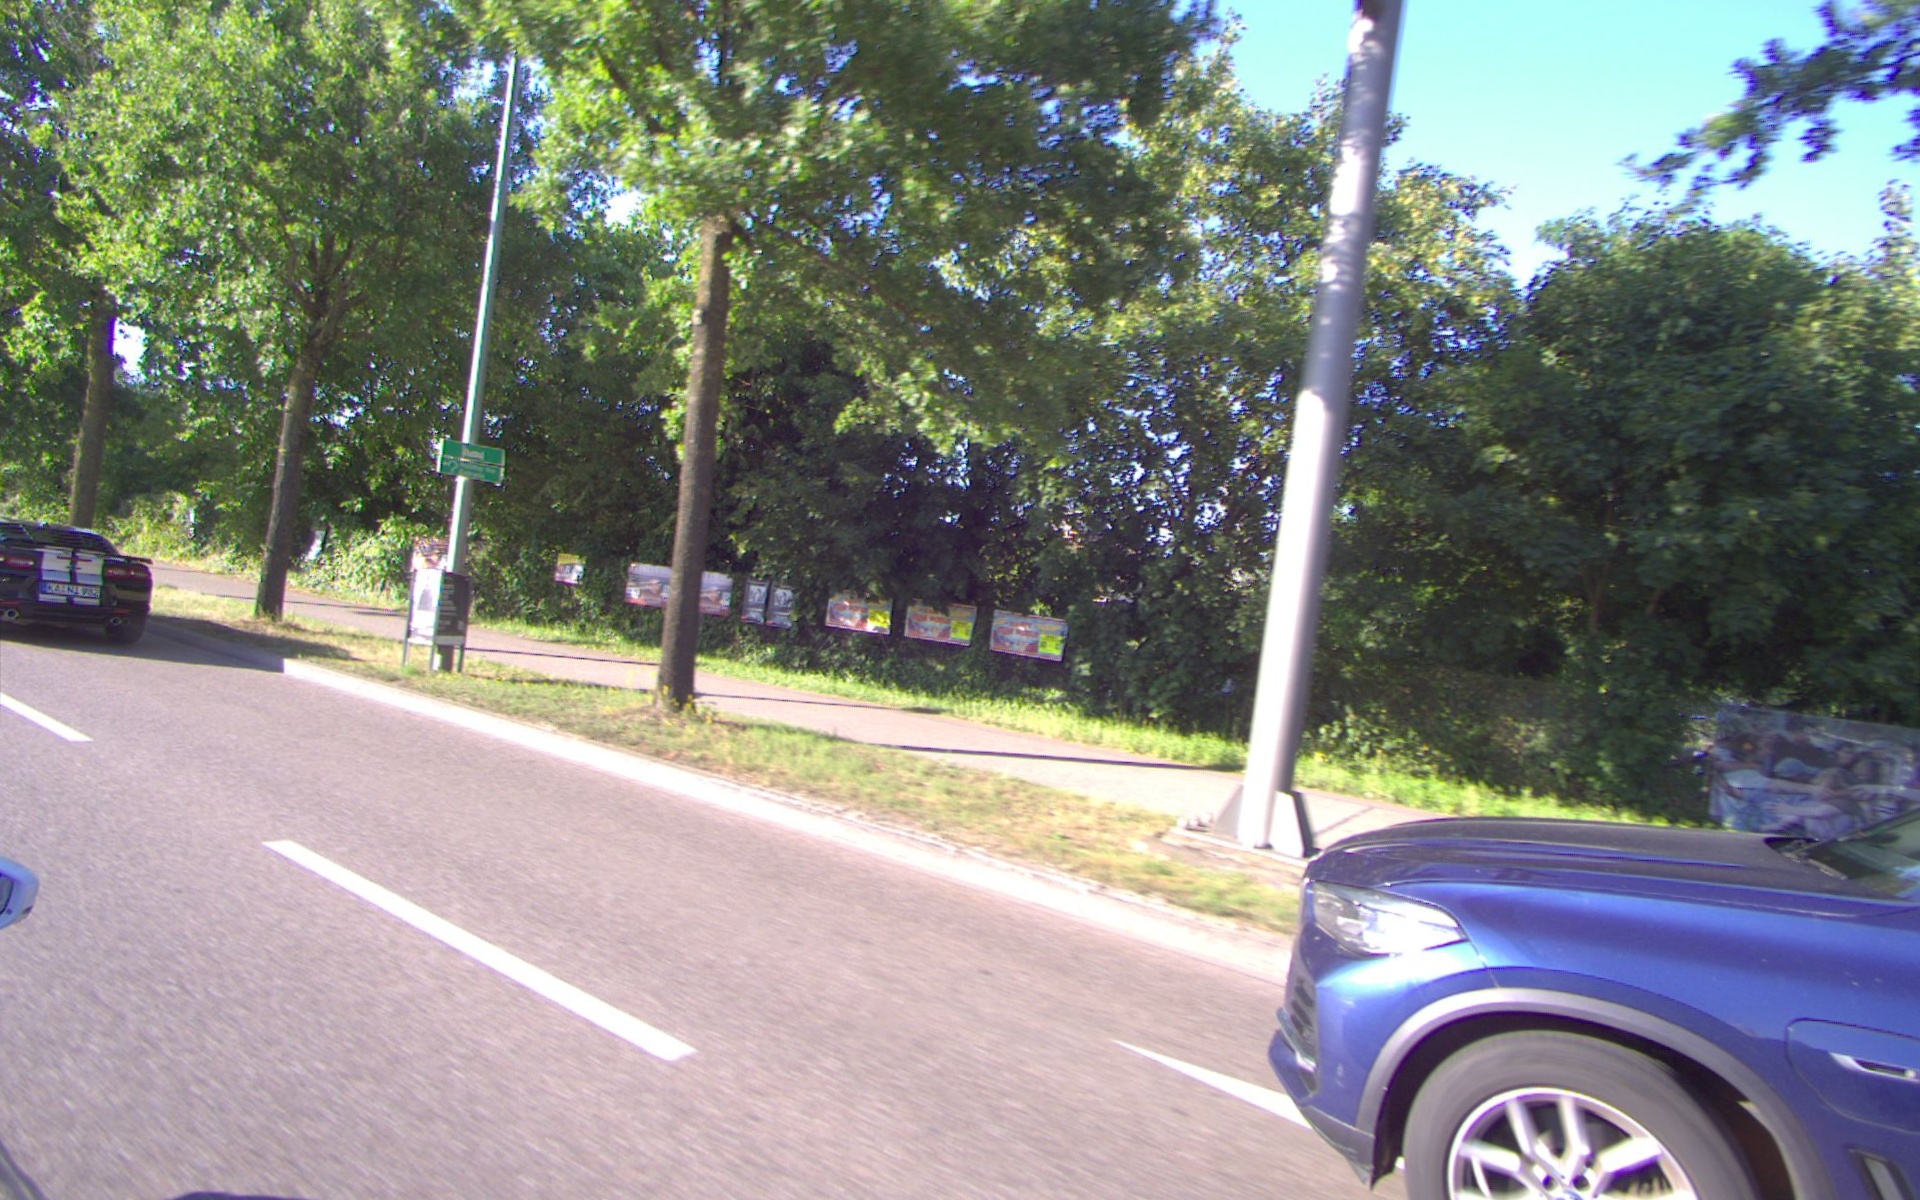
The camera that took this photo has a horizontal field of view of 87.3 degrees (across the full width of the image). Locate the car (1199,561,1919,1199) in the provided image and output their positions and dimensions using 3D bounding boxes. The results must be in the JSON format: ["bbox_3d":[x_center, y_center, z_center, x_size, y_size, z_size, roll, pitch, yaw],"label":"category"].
[{"bbox_3d":[3.196,1.072,2.290,4.624,1.747,1.957,6,-2,34],"label":"car"}]

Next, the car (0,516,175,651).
[{"bbox_3d":[-11.724,-0.341,12.415,4.552,1.353,1.856,6,-2,35],"label":"car"}]
